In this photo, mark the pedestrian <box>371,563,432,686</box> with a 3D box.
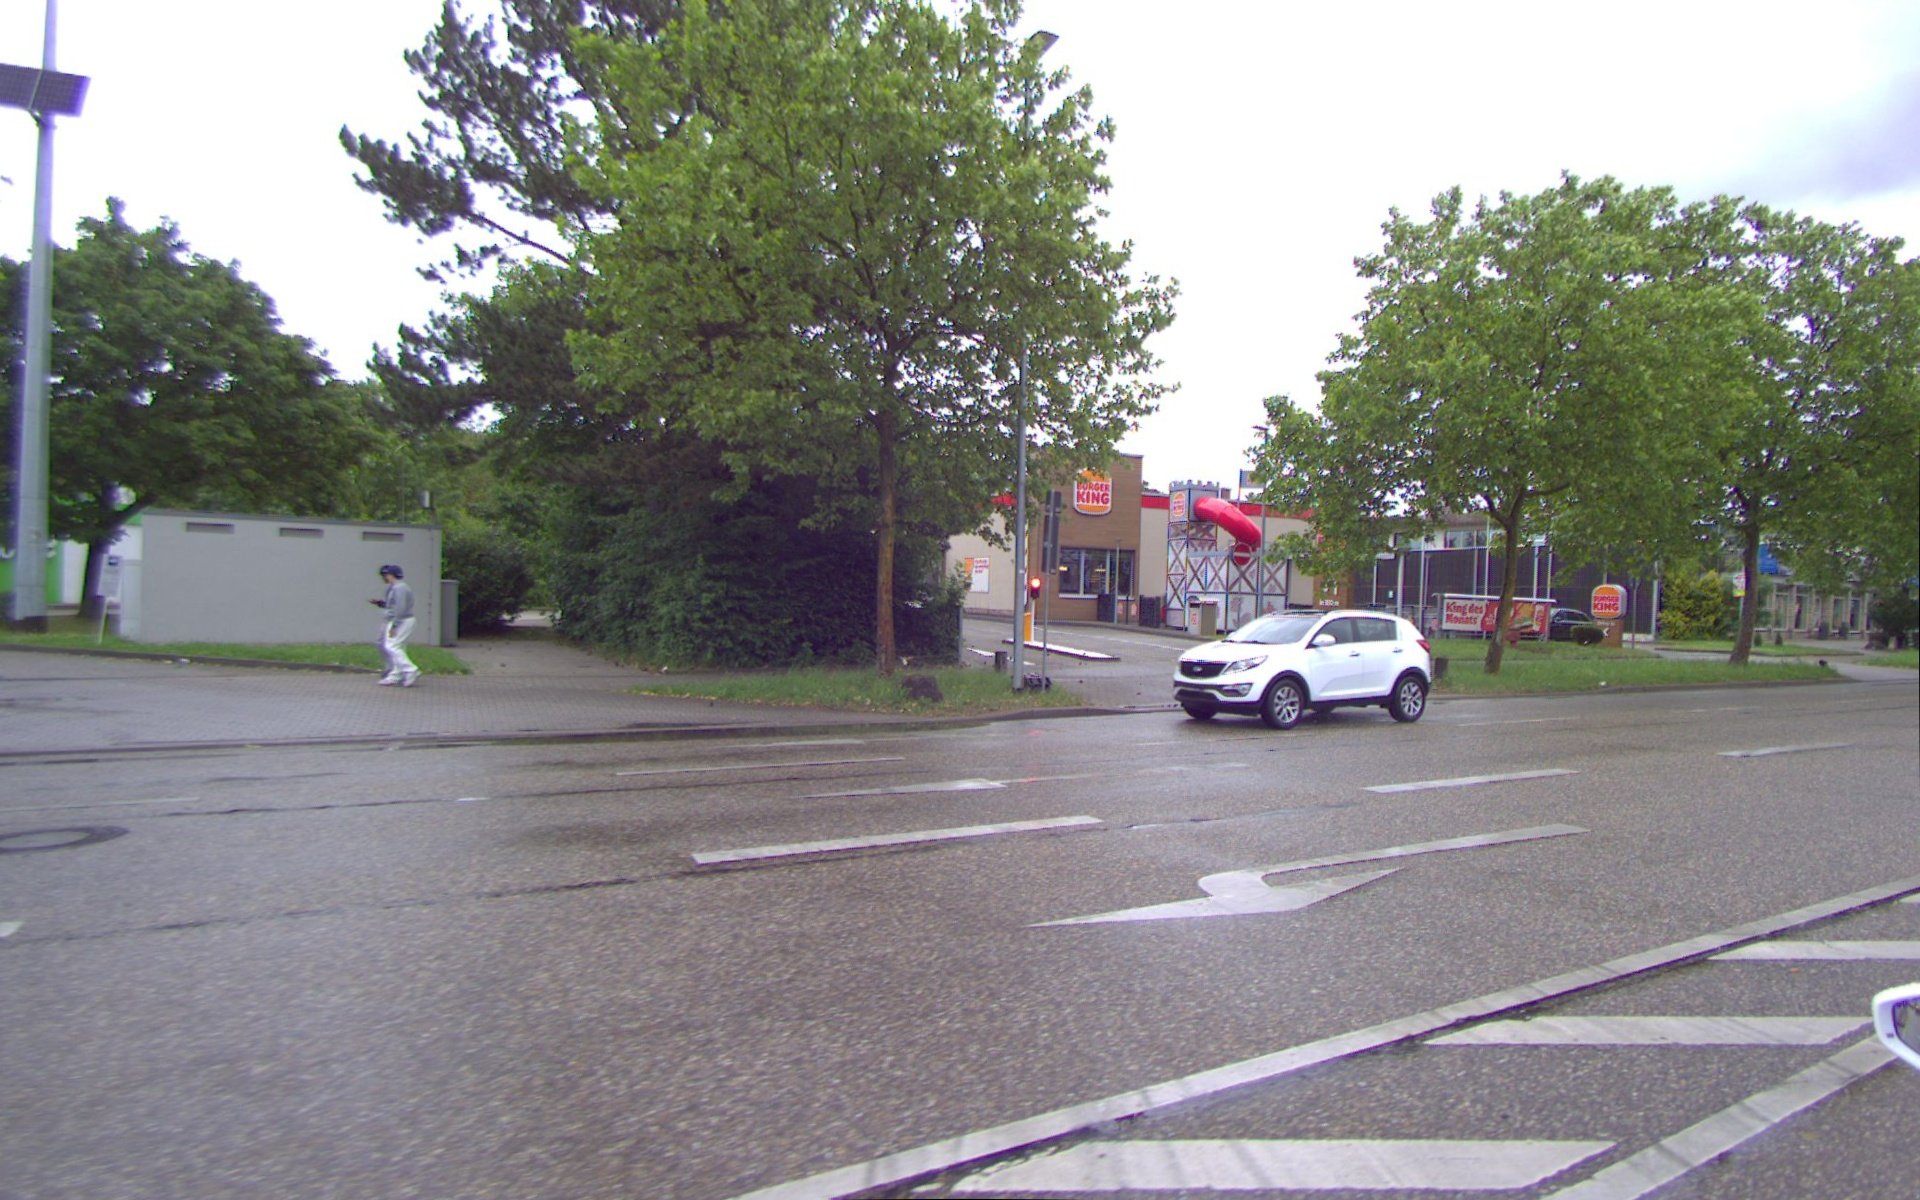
[{"bbox_3d":[-8.341,0.353,15.019,0.572,1.790,0.666,1,1,-9],"label":"pedestrian"}]

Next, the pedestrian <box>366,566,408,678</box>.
[{"bbox_3d":[-8.893,0.339,15.598,0.534,1.705,0.509,1,-1,-30],"label":"pedestrian"}]

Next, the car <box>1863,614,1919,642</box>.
[{"bbox_3d":[51.396,1.539,55.146,3.898,1.506,1.812,1,-1,-34],"label":"car"}]

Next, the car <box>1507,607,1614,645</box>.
[{"bbox_3d":[21.954,0.931,36.818,1.272,1.171,3.166,1,2,-23],"label":"car"}]

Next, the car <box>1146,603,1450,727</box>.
[{"bbox_3d":[5.125,0.922,15.115,4.345,1.641,1.920,2,-1,-29],"label":"car"}]
